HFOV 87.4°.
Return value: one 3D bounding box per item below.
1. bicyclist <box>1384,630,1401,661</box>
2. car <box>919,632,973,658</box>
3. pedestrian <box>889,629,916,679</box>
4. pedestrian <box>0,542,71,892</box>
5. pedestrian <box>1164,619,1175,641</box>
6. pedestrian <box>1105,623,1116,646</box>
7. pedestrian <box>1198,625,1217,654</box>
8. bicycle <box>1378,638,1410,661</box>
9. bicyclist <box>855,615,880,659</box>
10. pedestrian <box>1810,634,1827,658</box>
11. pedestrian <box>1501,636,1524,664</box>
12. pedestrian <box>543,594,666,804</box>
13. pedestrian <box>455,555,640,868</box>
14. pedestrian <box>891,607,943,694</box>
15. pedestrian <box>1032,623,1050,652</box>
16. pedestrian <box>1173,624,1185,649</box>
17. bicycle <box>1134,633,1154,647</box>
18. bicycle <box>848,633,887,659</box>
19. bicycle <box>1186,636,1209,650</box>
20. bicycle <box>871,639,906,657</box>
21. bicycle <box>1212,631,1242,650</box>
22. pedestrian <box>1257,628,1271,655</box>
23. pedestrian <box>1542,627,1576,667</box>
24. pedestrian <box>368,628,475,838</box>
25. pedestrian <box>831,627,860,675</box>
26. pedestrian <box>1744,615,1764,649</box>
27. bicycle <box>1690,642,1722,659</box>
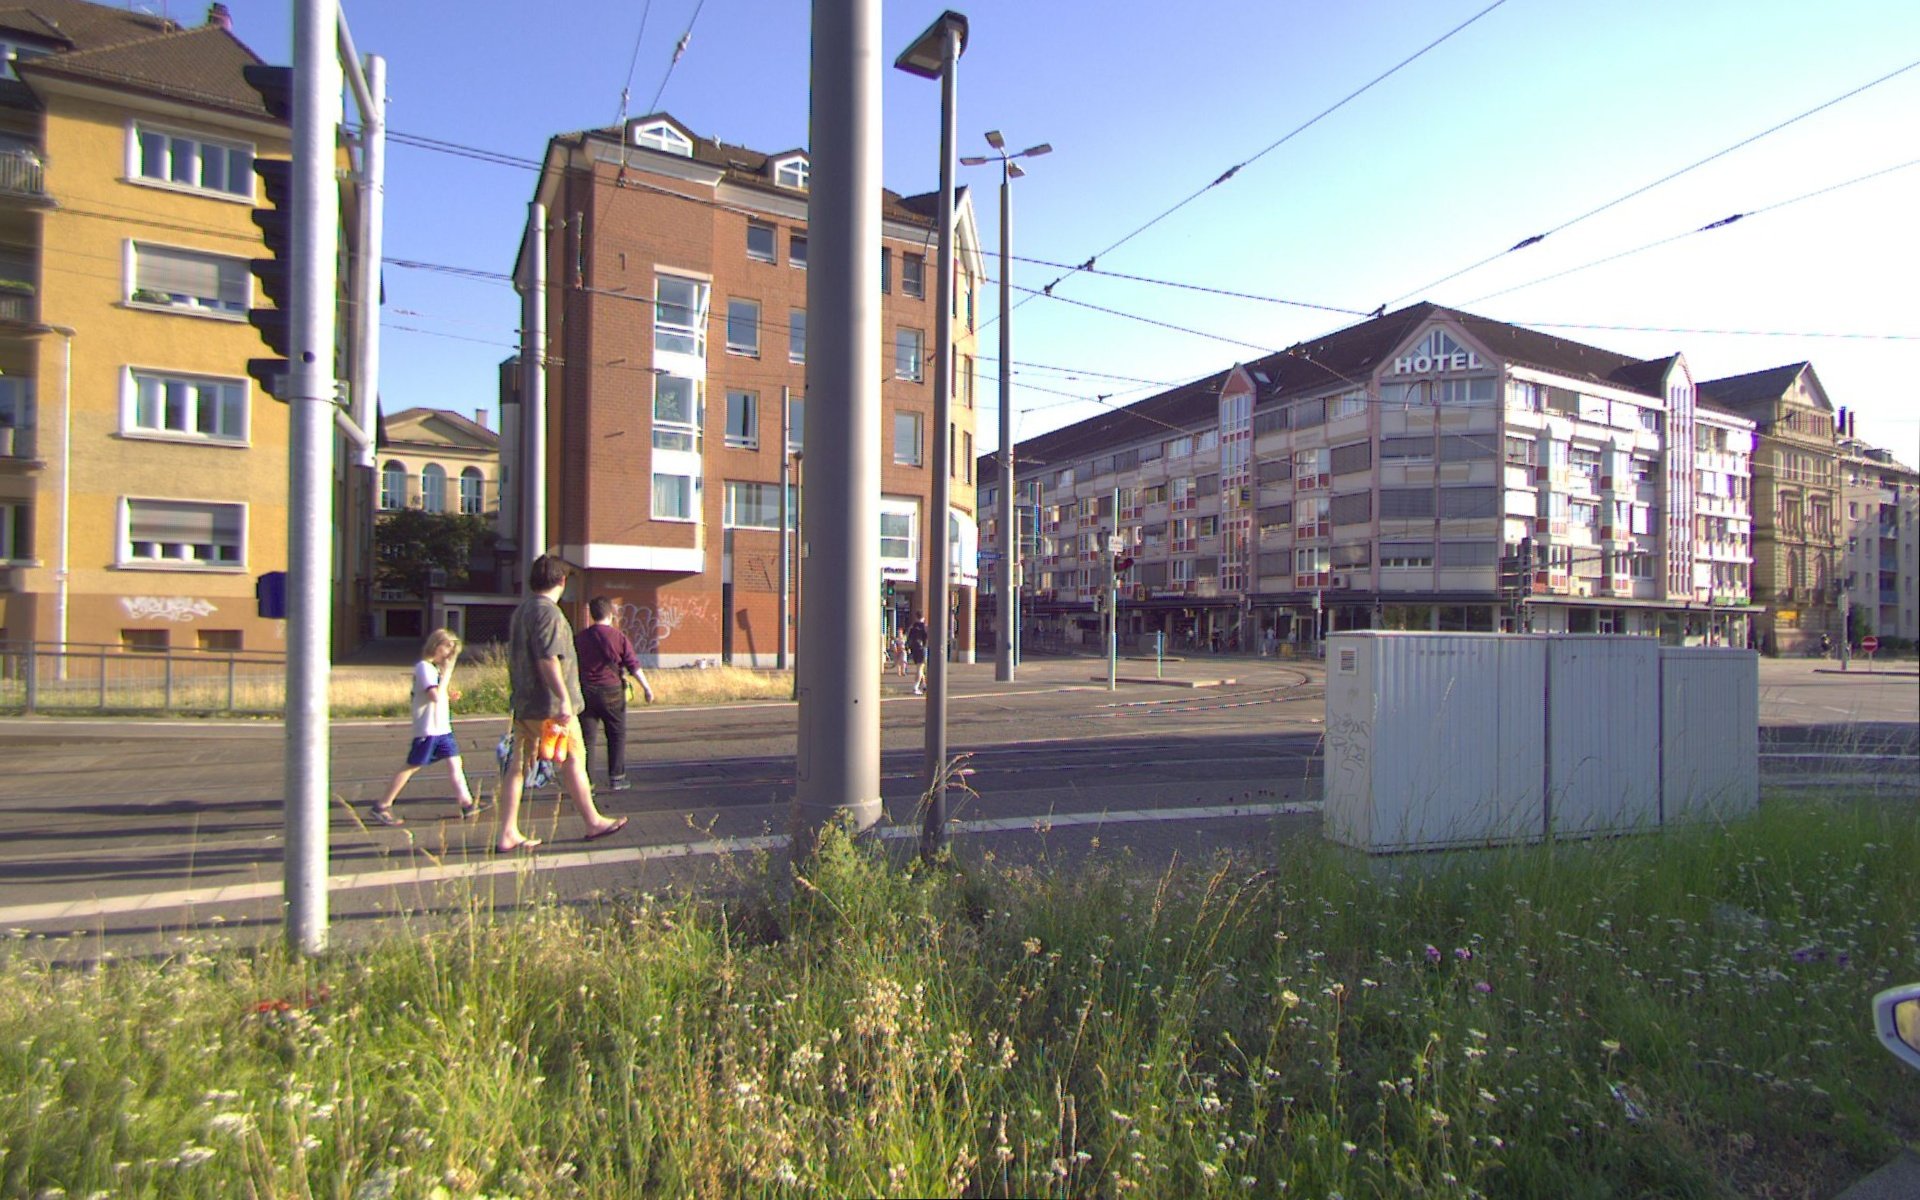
[{"bbox_3d":[24.071,2.527,55.903,0.649,1.618,0.636,-1,1,-26],"label":"bicyclist"},{"bbox_3d":[-0.844,2.571,57.519,1.725,1.261,3.916,2,0,-22],"label":"car"},{"bbox_3d":[-1.902,1.800,33.363,0.825,1.605,0.683,2,0,-3],"label":"pedestrian"},{"bbox_3d":[-5.045,0.543,4.909,0.890,1.662,0.781,2,0,-32],"label":"pedestrian"},{"bbox_3d":[16.030,2.289,76.786,0.600,1.656,0.603,1,-5,-11],"label":"pedestrian"},{"bbox_3d":[12.553,2.878,83.845,0.804,1.802,0.680,2,0,0],"label":"pedestrian"},{"bbox_3d":[14.669,2.318,59.501,0.773,1.682,0.677,2,0,-35],"label":"pedestrian"},{"bbox_3d":[24.196,2.754,55.971,1.746,1.160,0.636,-1,1,-27],"label":"bicycle"},{"bbox_3d":[-3.344,1.330,36.244,0.722,1.564,0.430,2,0,-34],"label":"bicyclist"},{"bbox_3d":[61.501,3.282,71.943,0.715,1.717,0.692,2,0,-30],"label":"pedestrian"},{"bbox_3d":[29.051,2.622,52.820,0.847,1.472,0.700,2,0,-34],"label":"pedestrian"},{"bbox_3d":[-2.890,0.767,8.161,0.780,1.609,0.602,2,0,-34],"label":"pedestrian"},{"bbox_3d":[-2.495,0.647,6.184,0.884,1.781,0.774,2,0,-12],"label":"pedestrian"},{"bbox_3d":[-0.913,1.056,21.250,0.824,1.781,0.687,2,0,-44],"label":"pedestrian"},{"bbox_3d":[4.742,2.193,58.966,0.771,1.682,0.679,2,0,-25],"label":"pedestrian"},{"bbox_3d":[16.667,2.744,76.420,0.601,1.877,0.601,2,0,-20],"label":"pedestrian"},{"bbox_3d":[14.625,3.174,79.837,1.630,1.134,0.480,2,0,-30],"label":"bicycle"},{"bbox_3d":[-3.326,1.660,36.264,1.351,0.929,0.430,2,0,-34],"label":"bicycle"},{"bbox_3d":[17.084,3.109,72.266,0.494,0.929,2.066,2,-2,-24],"label":"bicycle"},{"bbox_3d":[-3.919,2.618,55.015,1.813,0.974,0.540,1,1,-27],"label":"bicycle"},{"bbox_3d":[18.452,2.787,69.582,0.720,1.243,2.319,2,-2,-24],"label":"bicycle"},{"bbox_3d":[19.547,2.662,64.601,0.612,1.717,0.866,2,0,29],"label":"pedestrian"},{"bbox_3d":[31.464,2.460,52.784,0.847,1.909,1.187,-11,7,-33],"label":"pedestrian"},{"bbox_3d":[-3.749,0.901,7.033,0.600,1.377,0.593,1,-5,-25],"label":"pedestrian"},{"bbox_3d":[-3.934,1.743,34.474,0.828,1.605,0.681,2,0,-17],"label":"pedestrian"},{"bbox_3d":[57.778,2.296,73.116,0.953,2.430,0.918,2,0,-40],"label":"pedestrian"},{"bbox_3d":[48.484,3.292,65.270,2.056,1.085,0.451,2,0,-13],"label":"bicycle"}]
